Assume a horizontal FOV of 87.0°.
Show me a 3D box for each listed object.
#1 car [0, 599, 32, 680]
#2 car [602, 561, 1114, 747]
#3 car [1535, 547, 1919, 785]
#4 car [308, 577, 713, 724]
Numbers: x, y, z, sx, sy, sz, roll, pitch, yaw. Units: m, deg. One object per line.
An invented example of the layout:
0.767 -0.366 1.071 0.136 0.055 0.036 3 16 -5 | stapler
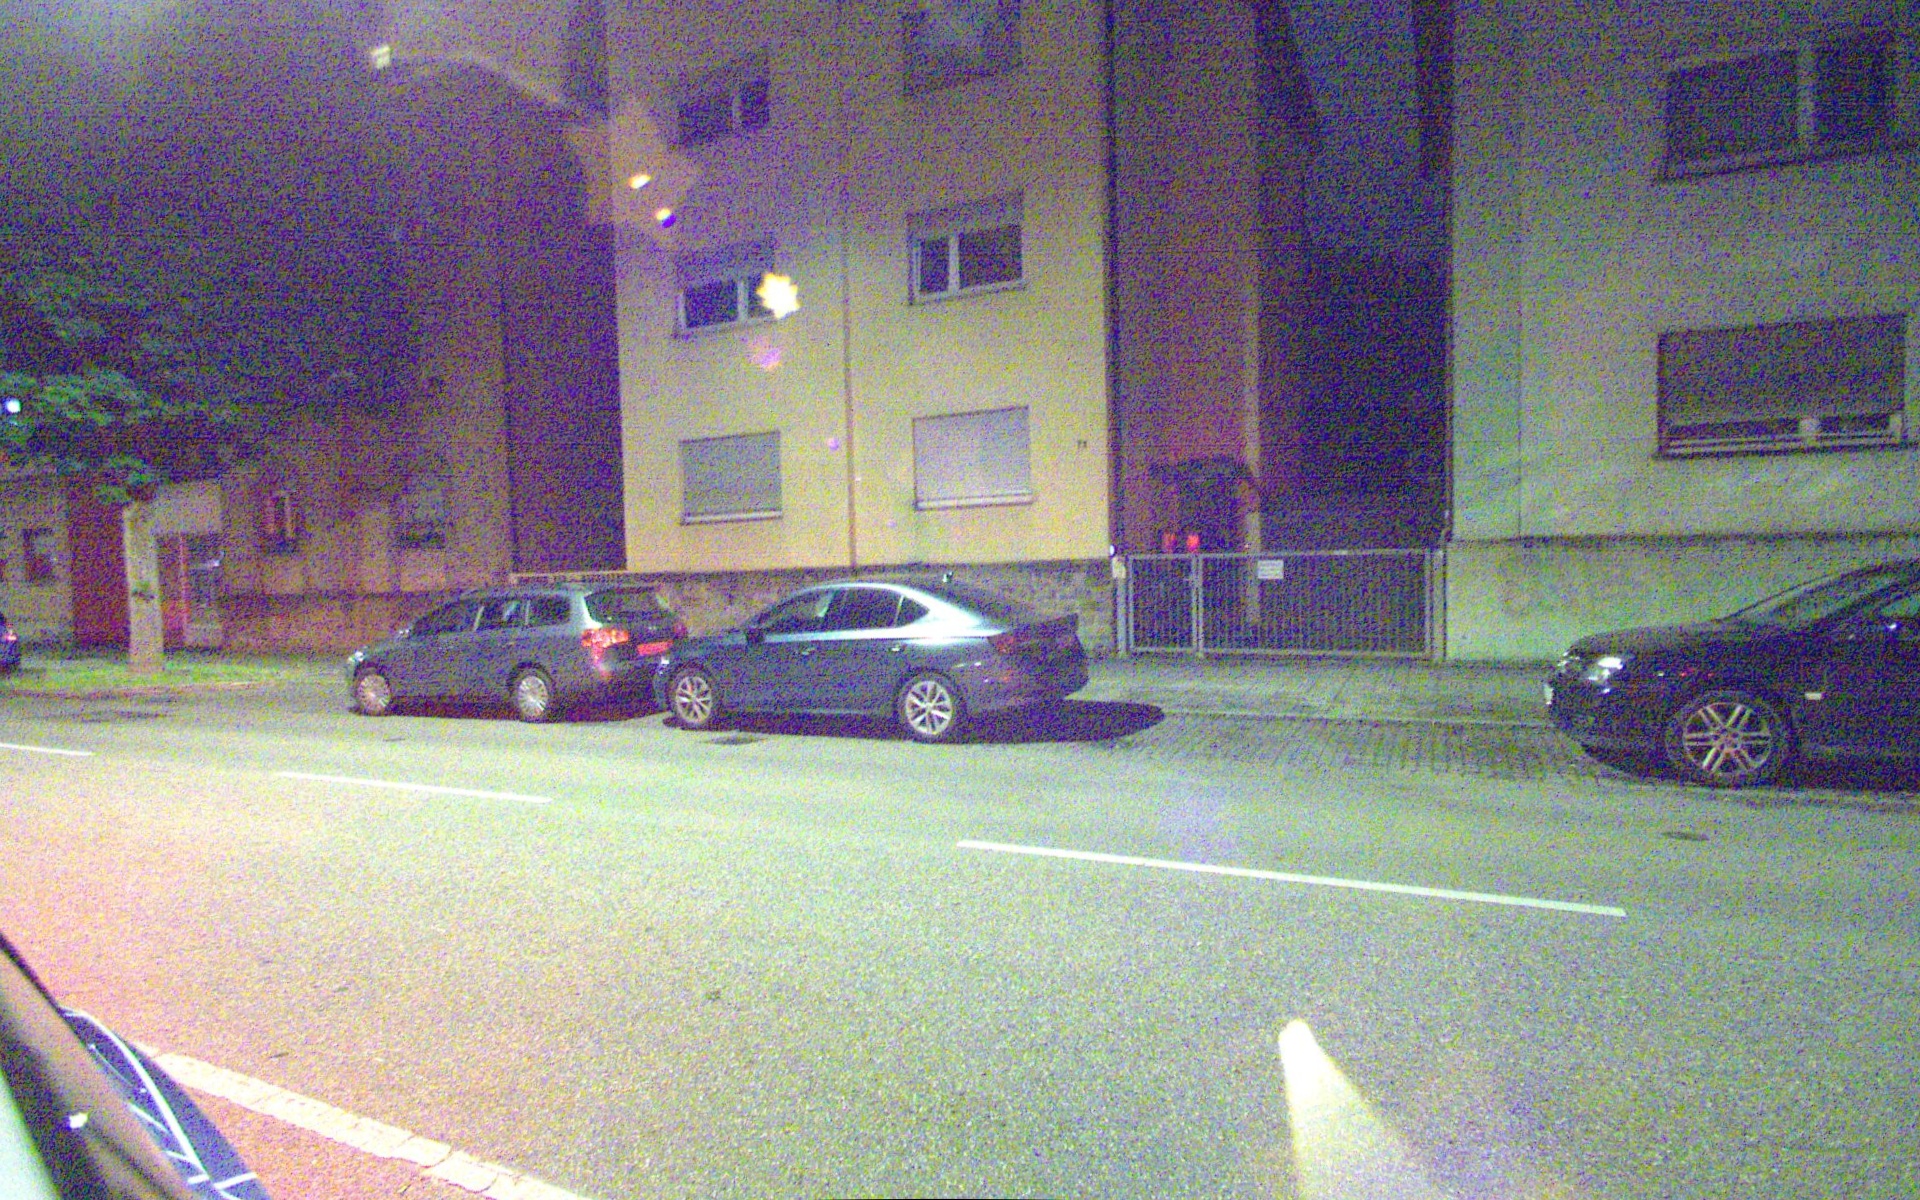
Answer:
-20.040 0.802 19.578 3.968 1.505 1.705 -1 2 26 | car
-1.071 0.446 9.997 4.837 1.497 1.759 -1 1 26 | car
6.318 0.361 6.458 4.424 1.393 1.615 -1 1 24 | car
-5.439 0.534 12.168 4.739 1.497 1.759 -1 1 25 | car
